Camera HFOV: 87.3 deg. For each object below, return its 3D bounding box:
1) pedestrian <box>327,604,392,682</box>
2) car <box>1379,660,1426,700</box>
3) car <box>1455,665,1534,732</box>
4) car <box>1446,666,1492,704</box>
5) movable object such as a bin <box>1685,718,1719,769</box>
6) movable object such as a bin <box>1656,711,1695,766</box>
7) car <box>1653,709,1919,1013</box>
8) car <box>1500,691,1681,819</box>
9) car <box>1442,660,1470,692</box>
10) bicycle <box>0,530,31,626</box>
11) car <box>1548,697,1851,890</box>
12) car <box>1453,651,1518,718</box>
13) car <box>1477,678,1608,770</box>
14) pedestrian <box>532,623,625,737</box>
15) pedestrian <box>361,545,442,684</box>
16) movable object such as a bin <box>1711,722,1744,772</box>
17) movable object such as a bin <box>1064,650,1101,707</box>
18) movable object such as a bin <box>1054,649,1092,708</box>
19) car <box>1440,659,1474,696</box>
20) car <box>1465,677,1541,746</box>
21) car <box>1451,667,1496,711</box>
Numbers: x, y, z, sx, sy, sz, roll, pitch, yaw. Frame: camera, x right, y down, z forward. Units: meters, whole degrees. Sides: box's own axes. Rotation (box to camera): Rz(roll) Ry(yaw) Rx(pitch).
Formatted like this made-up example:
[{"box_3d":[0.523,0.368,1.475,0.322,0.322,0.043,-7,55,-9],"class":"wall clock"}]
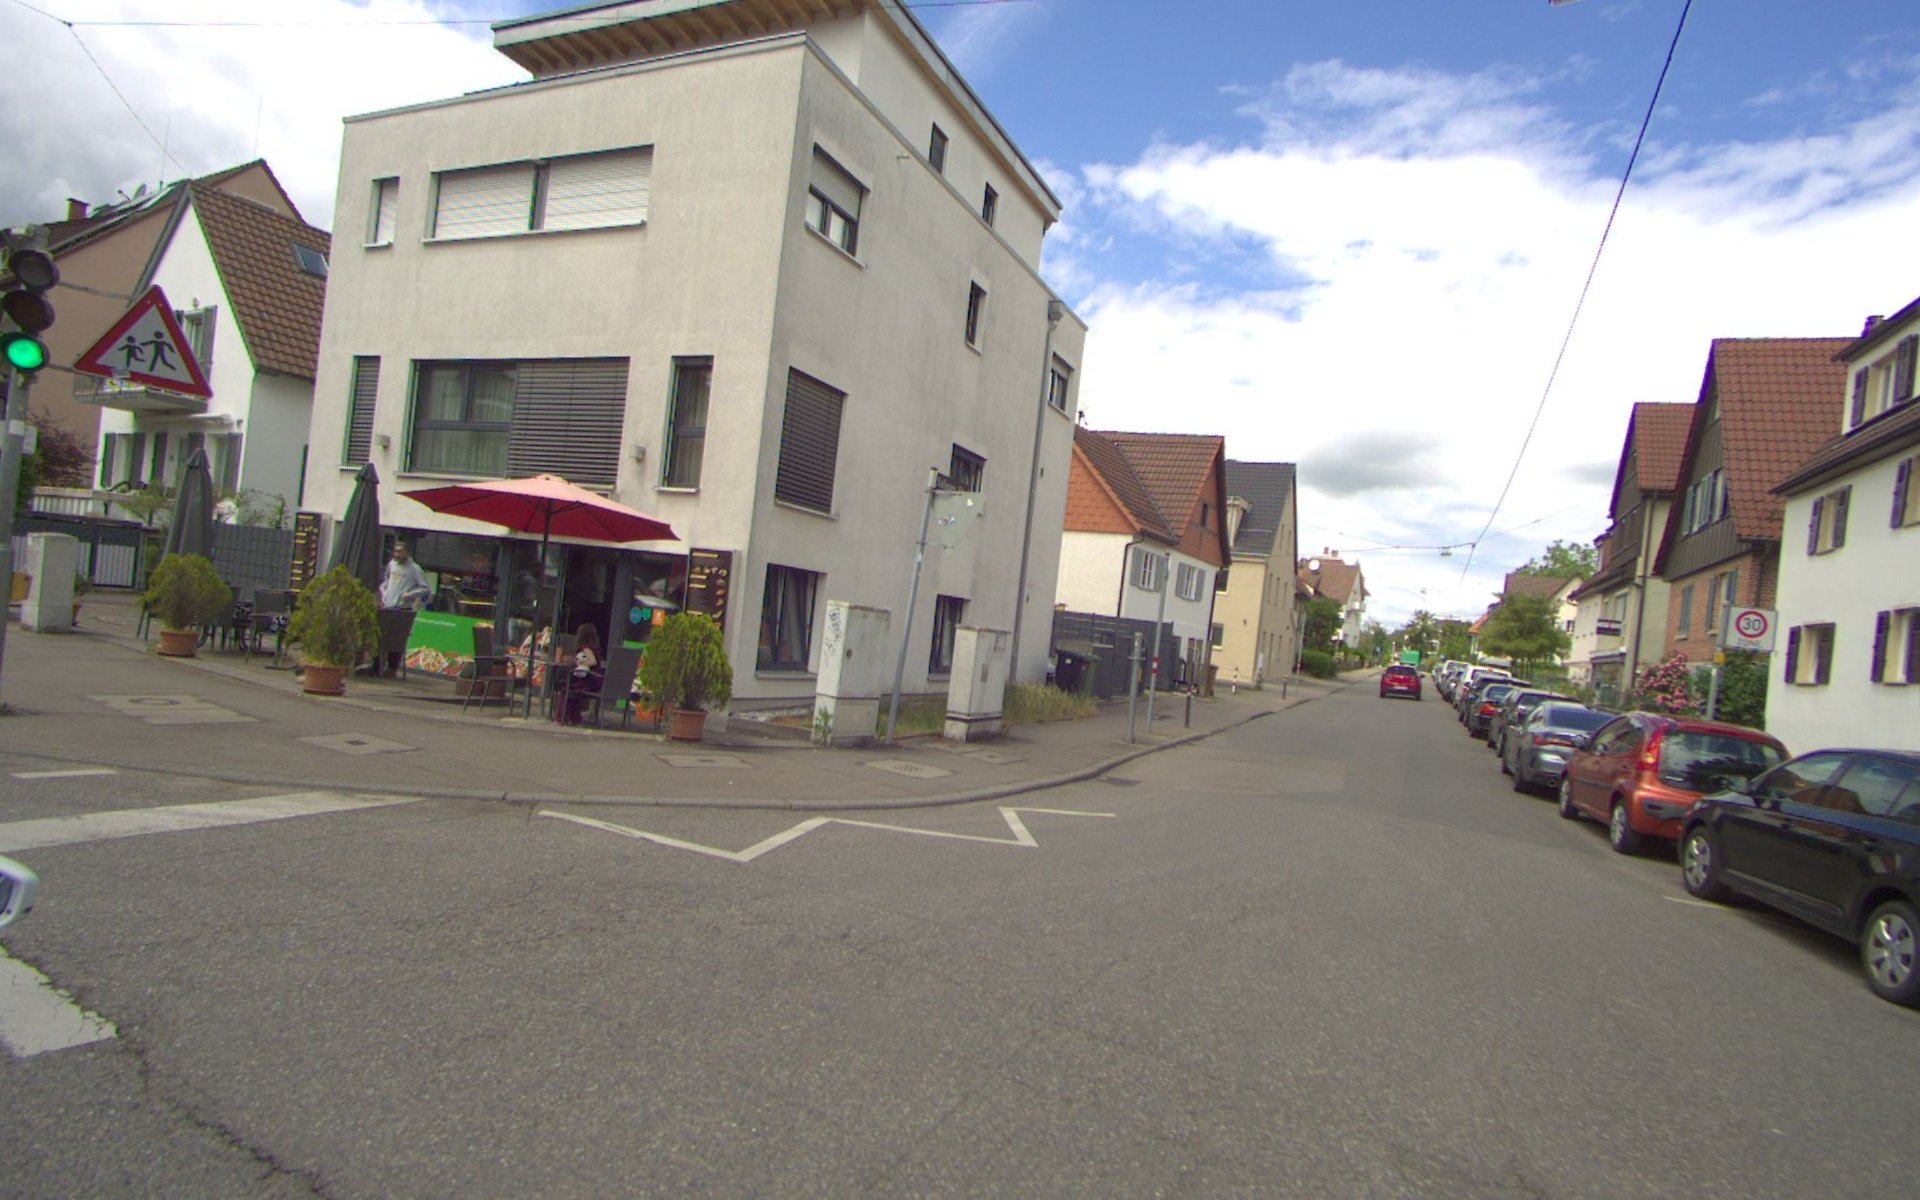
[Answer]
[{"box_3d":[-7.821,0.556,13.111,0.488,0.949,0.420,6,-1,11],"class":"pedestrian"},{"box_3d":[19.744,3.581,44.787,1.672,1.502,4.123,6,-2,26],"class":"car"},{"box_3d":[16.145,2.967,30.546,1.597,1.701,4.125,6,-2,23],"class":"car"},{"box_3d":[23.997,4.019,47.497,1.713,1.490,3.711,6,-2,26],"class":"car"},{"box_3d":[16.115,3.107,21.851,0.408,1.027,0.392,6,-1,23],"class":"movable object such as a bin"},{"box_3d":[15.673,3.024,22.042,0.518,1.097,0.392,6,-1,23],"class":"movable object such as a bin"},{"box_3d":[6.575,1.719,6.754,1.746,1.433,4.186,8,0,16],"class":"car"},{"box_3d":[9.447,2.224,15.416,1.757,1.376,4.363,6,-1,26],"class":"car"},{"box_3d":[30.315,4.672,61.547,1.338,1.752,3.060,6,-2,26],"class":"car"},{"box_3d":[-12.993,-0.368,13.221,2.180,1.164,0.720,6,-1,38],"class":"bicycle"},{"box_3d":[7.930,1.966,11.177,1.621,1.503,3.427,6,-2,19],"class":"car"},{"box_3d":[20.342,3.283,39.096,1.863,2.250,4.123,6,-2,26],"class":"car"},{"box_3d":[12.189,2.524,21.297,1.756,1.525,4.125,6,-1,23],"class":"car"},{"box_3d":[-4.055,0.841,10.717,0.622,1.101,0.568,7,-1,7],"class":"pedestrian"},{"box_3d":[-7.540,0.204,13.584,0.663,1.783,0.429,6,0,11],"class":"pedestrian"},{"box_3d":[16.549,3.163,21.689,0.389,1.010,0.392,6,-1,23],"class":"movable object such as a bin"},{"box_3d":[2.601,1.667,21.314,0.518,1.142,0.527,6,-1,24],"class":"movable object such as a bin"},{"box_3d":[2.331,1.614,20.725,0.518,1.142,0.527,6,-1,24],"class":"movable object such as a bin"},{"box_3d":[28.363,4.448,57.455,1.495,1.854,3.711,6,-2,26],"class":"car"},{"box_3d":[13.925,2.836,25.935,1.483,1.463,4.035,6,-2,27],"class":"car"},{"box_3d":[22.169,3.857,43.533,1.483,1.628,3.151,6,-2,26],"class":"car"}]
